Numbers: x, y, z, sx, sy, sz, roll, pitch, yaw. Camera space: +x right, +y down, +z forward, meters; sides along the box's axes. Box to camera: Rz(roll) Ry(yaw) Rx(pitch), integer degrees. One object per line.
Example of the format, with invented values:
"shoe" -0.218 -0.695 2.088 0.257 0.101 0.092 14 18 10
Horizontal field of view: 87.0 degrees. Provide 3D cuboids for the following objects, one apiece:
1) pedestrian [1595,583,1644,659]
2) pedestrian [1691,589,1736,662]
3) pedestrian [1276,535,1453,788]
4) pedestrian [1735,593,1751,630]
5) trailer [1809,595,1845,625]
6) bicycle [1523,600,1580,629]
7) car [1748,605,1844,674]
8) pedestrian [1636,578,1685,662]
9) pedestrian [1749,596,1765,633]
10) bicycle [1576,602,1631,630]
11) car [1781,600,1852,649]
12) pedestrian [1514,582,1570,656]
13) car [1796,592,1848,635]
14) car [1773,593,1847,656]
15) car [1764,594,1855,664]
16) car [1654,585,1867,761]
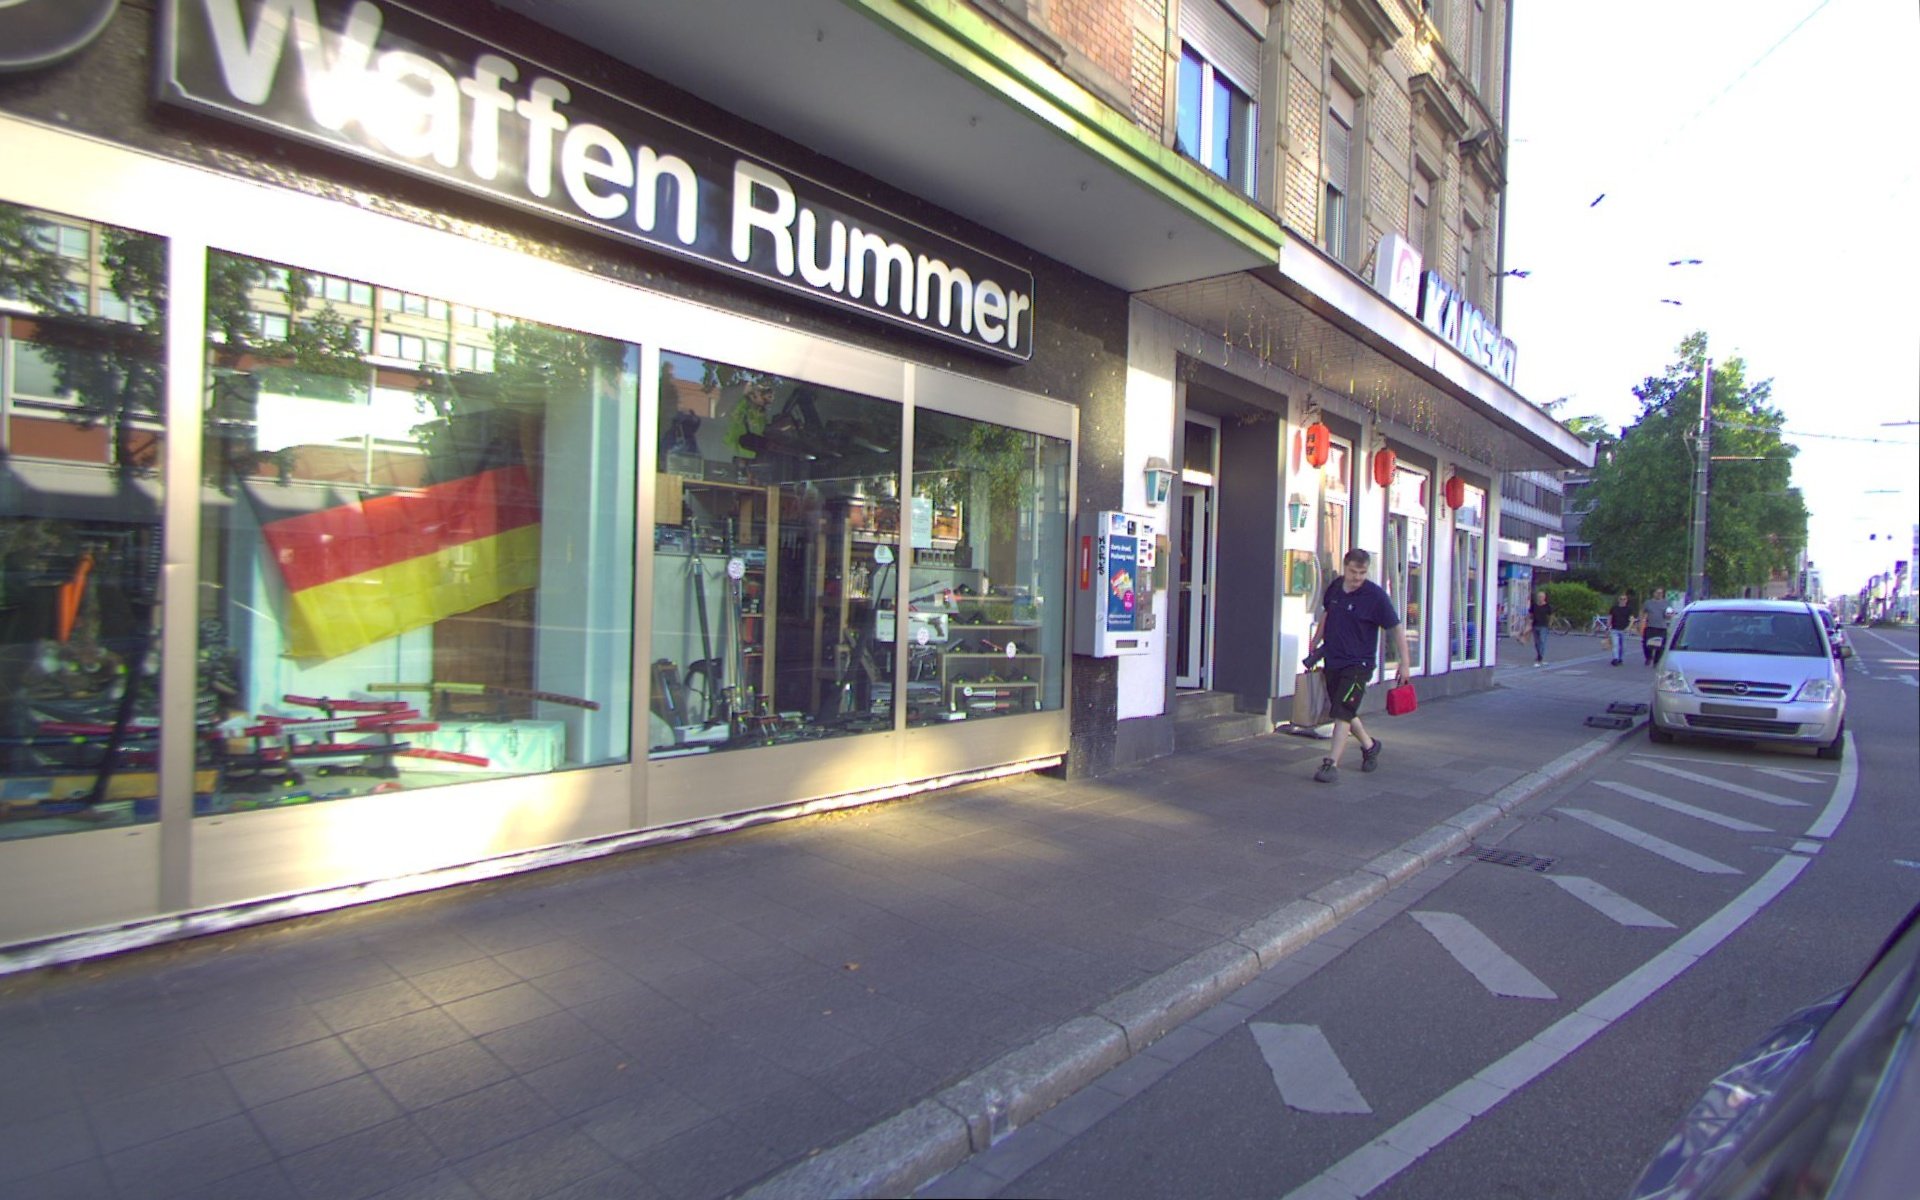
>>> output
"pedestrian" 16.081 0.491 24.666 0.810 1.778 1.017 3 1 41
"pedestrian" 18.800 0.619 25.246 0.787 1.759 0.931 2 1 41
"pedestrian" 3.199 0.425 7.991 0.946 1.814 1.039 3 2 41
"pedestrian" 38.302 0.557 49.487 0.493 1.734 0.430 5 3 41
"trailer" 64.910 0.734 75.764 1.779 2.176 5.231 0 0 43
"bicycle" 25.318 0.600 43.322 2.008 1.109 0.629 4 1 35
"car" 19.885 0.874 24.088 1.635 1.511 3.740 -1 -1 40
"pedestrian" 16.804 0.466 24.270 0.793 1.923 1.017 3 1 41
"pedestrian" 38.661 0.695 49.078 0.493 1.734 0.430 5 3 41
"bicycle" 27.278 0.667 42.918 1.879 1.109 0.462 2 2 41
"car" 30.568 0.830 36.074 1.786 1.616 4.260 0 -1 42
"pedestrian" 14.332 0.451 24.920 0.900 1.734 1.017 5 3 41
"car" 42.626 0.647 50.007 1.876 2.047 4.831 0 0 41
"car" 26.620 0.713 31.689 1.673 1.831 4.186 0 0 41
"car" 23.554 0.721 28.052 1.819 1.779 4.409 0 1 41
"car" 9.086 0.677 11.482 1.635 1.635 3.888 1 0 40
